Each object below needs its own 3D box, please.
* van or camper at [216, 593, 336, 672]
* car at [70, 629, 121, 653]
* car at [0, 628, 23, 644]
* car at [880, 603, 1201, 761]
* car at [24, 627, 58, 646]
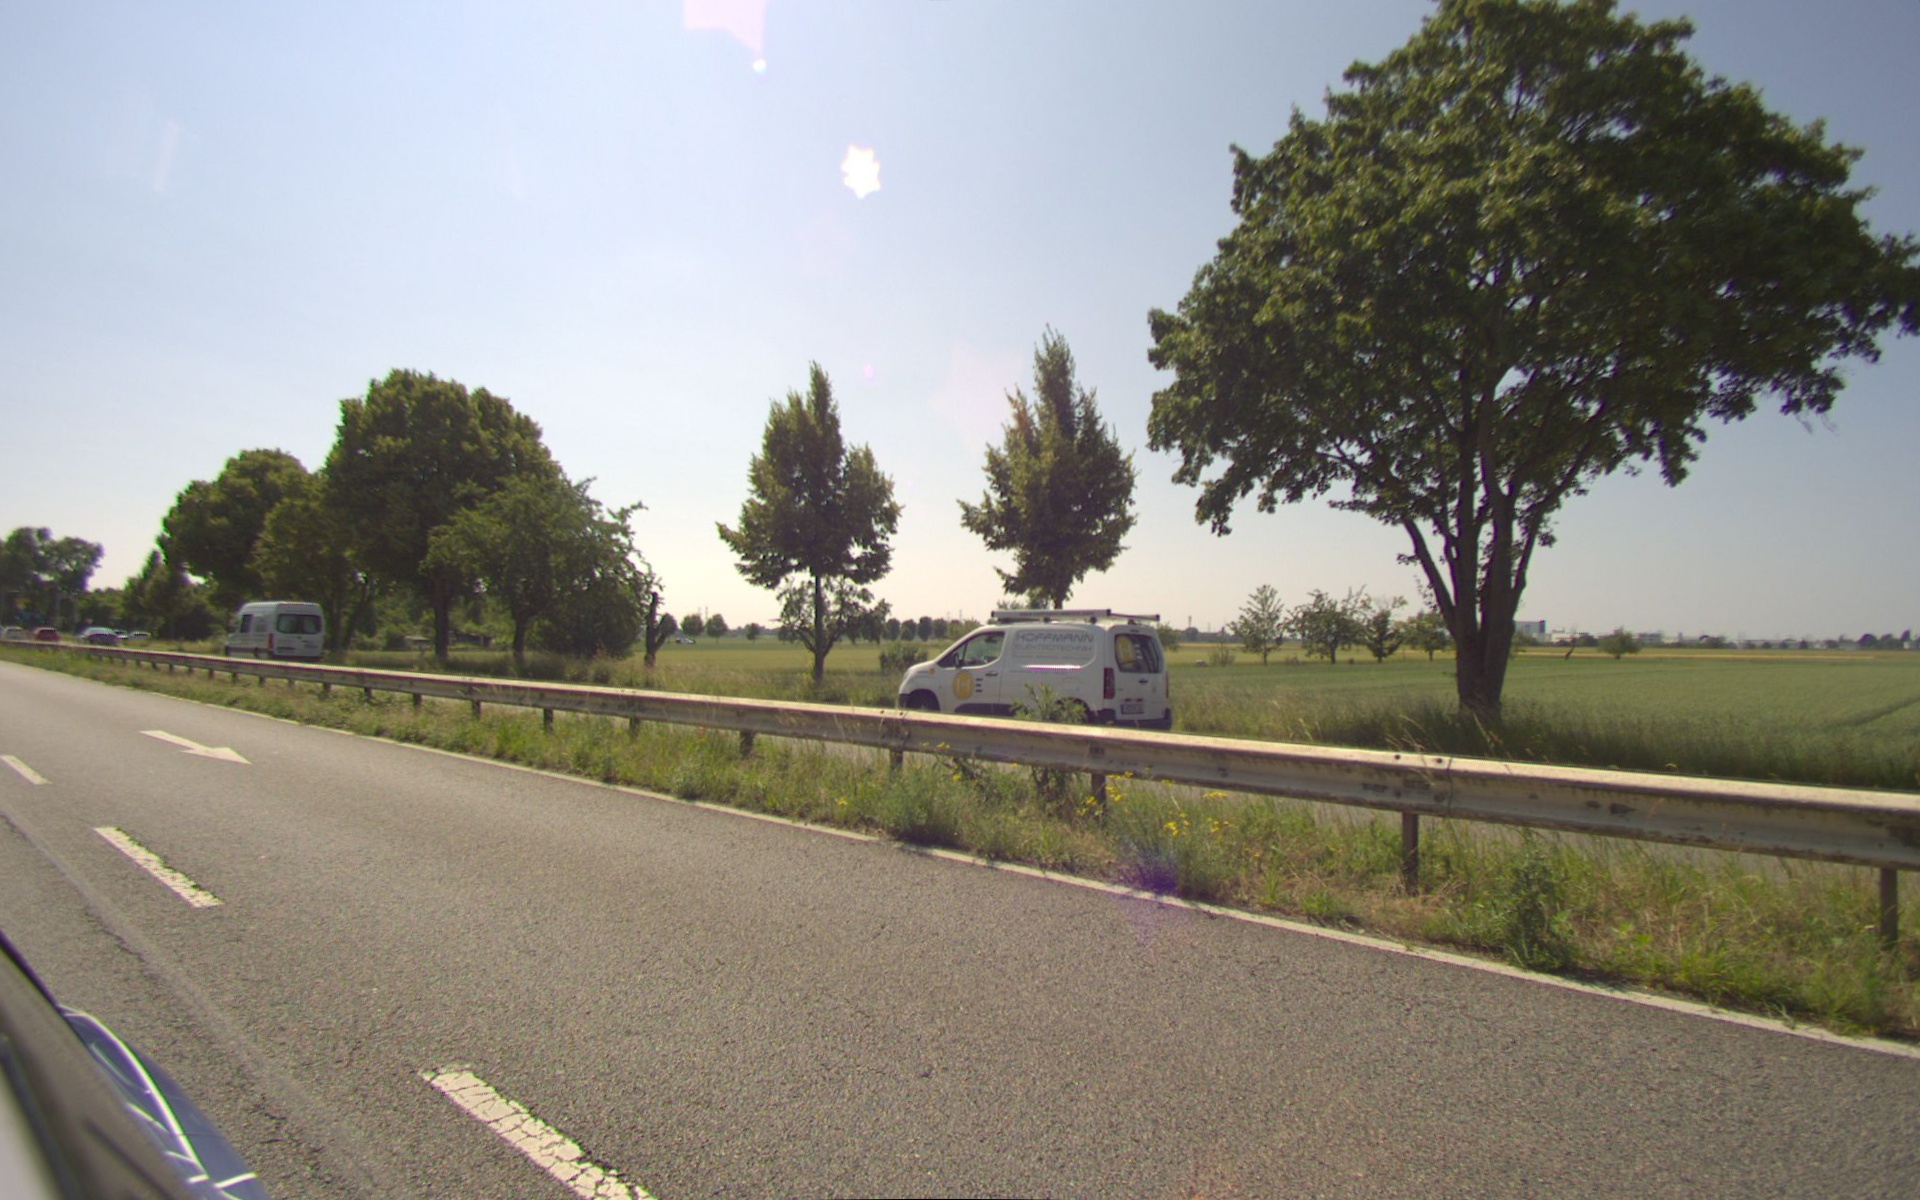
[{"bbox_3d":[-28.208,1.347,41.606,7.088,2.971,2.360,-1,-3,42],"label":"van or camper"},{"bbox_3d":[-60.016,2.829,70.202,4.862,1.603,1.935,-1,-3,41],"label":"car"},{"bbox_3d":[-97.654,3.736,103.834,3.892,1.603,1.742,-1,-3,41],"label":"car"},{"bbox_3d":[1.101,1.126,15.266,4.529,2.029,2.017,-1,-3,41],"label":"car"},{"bbox_3d":[-80.361,3.153,88.473,3.892,1.603,1.742,-1,-3,41],"label":"car"}]
